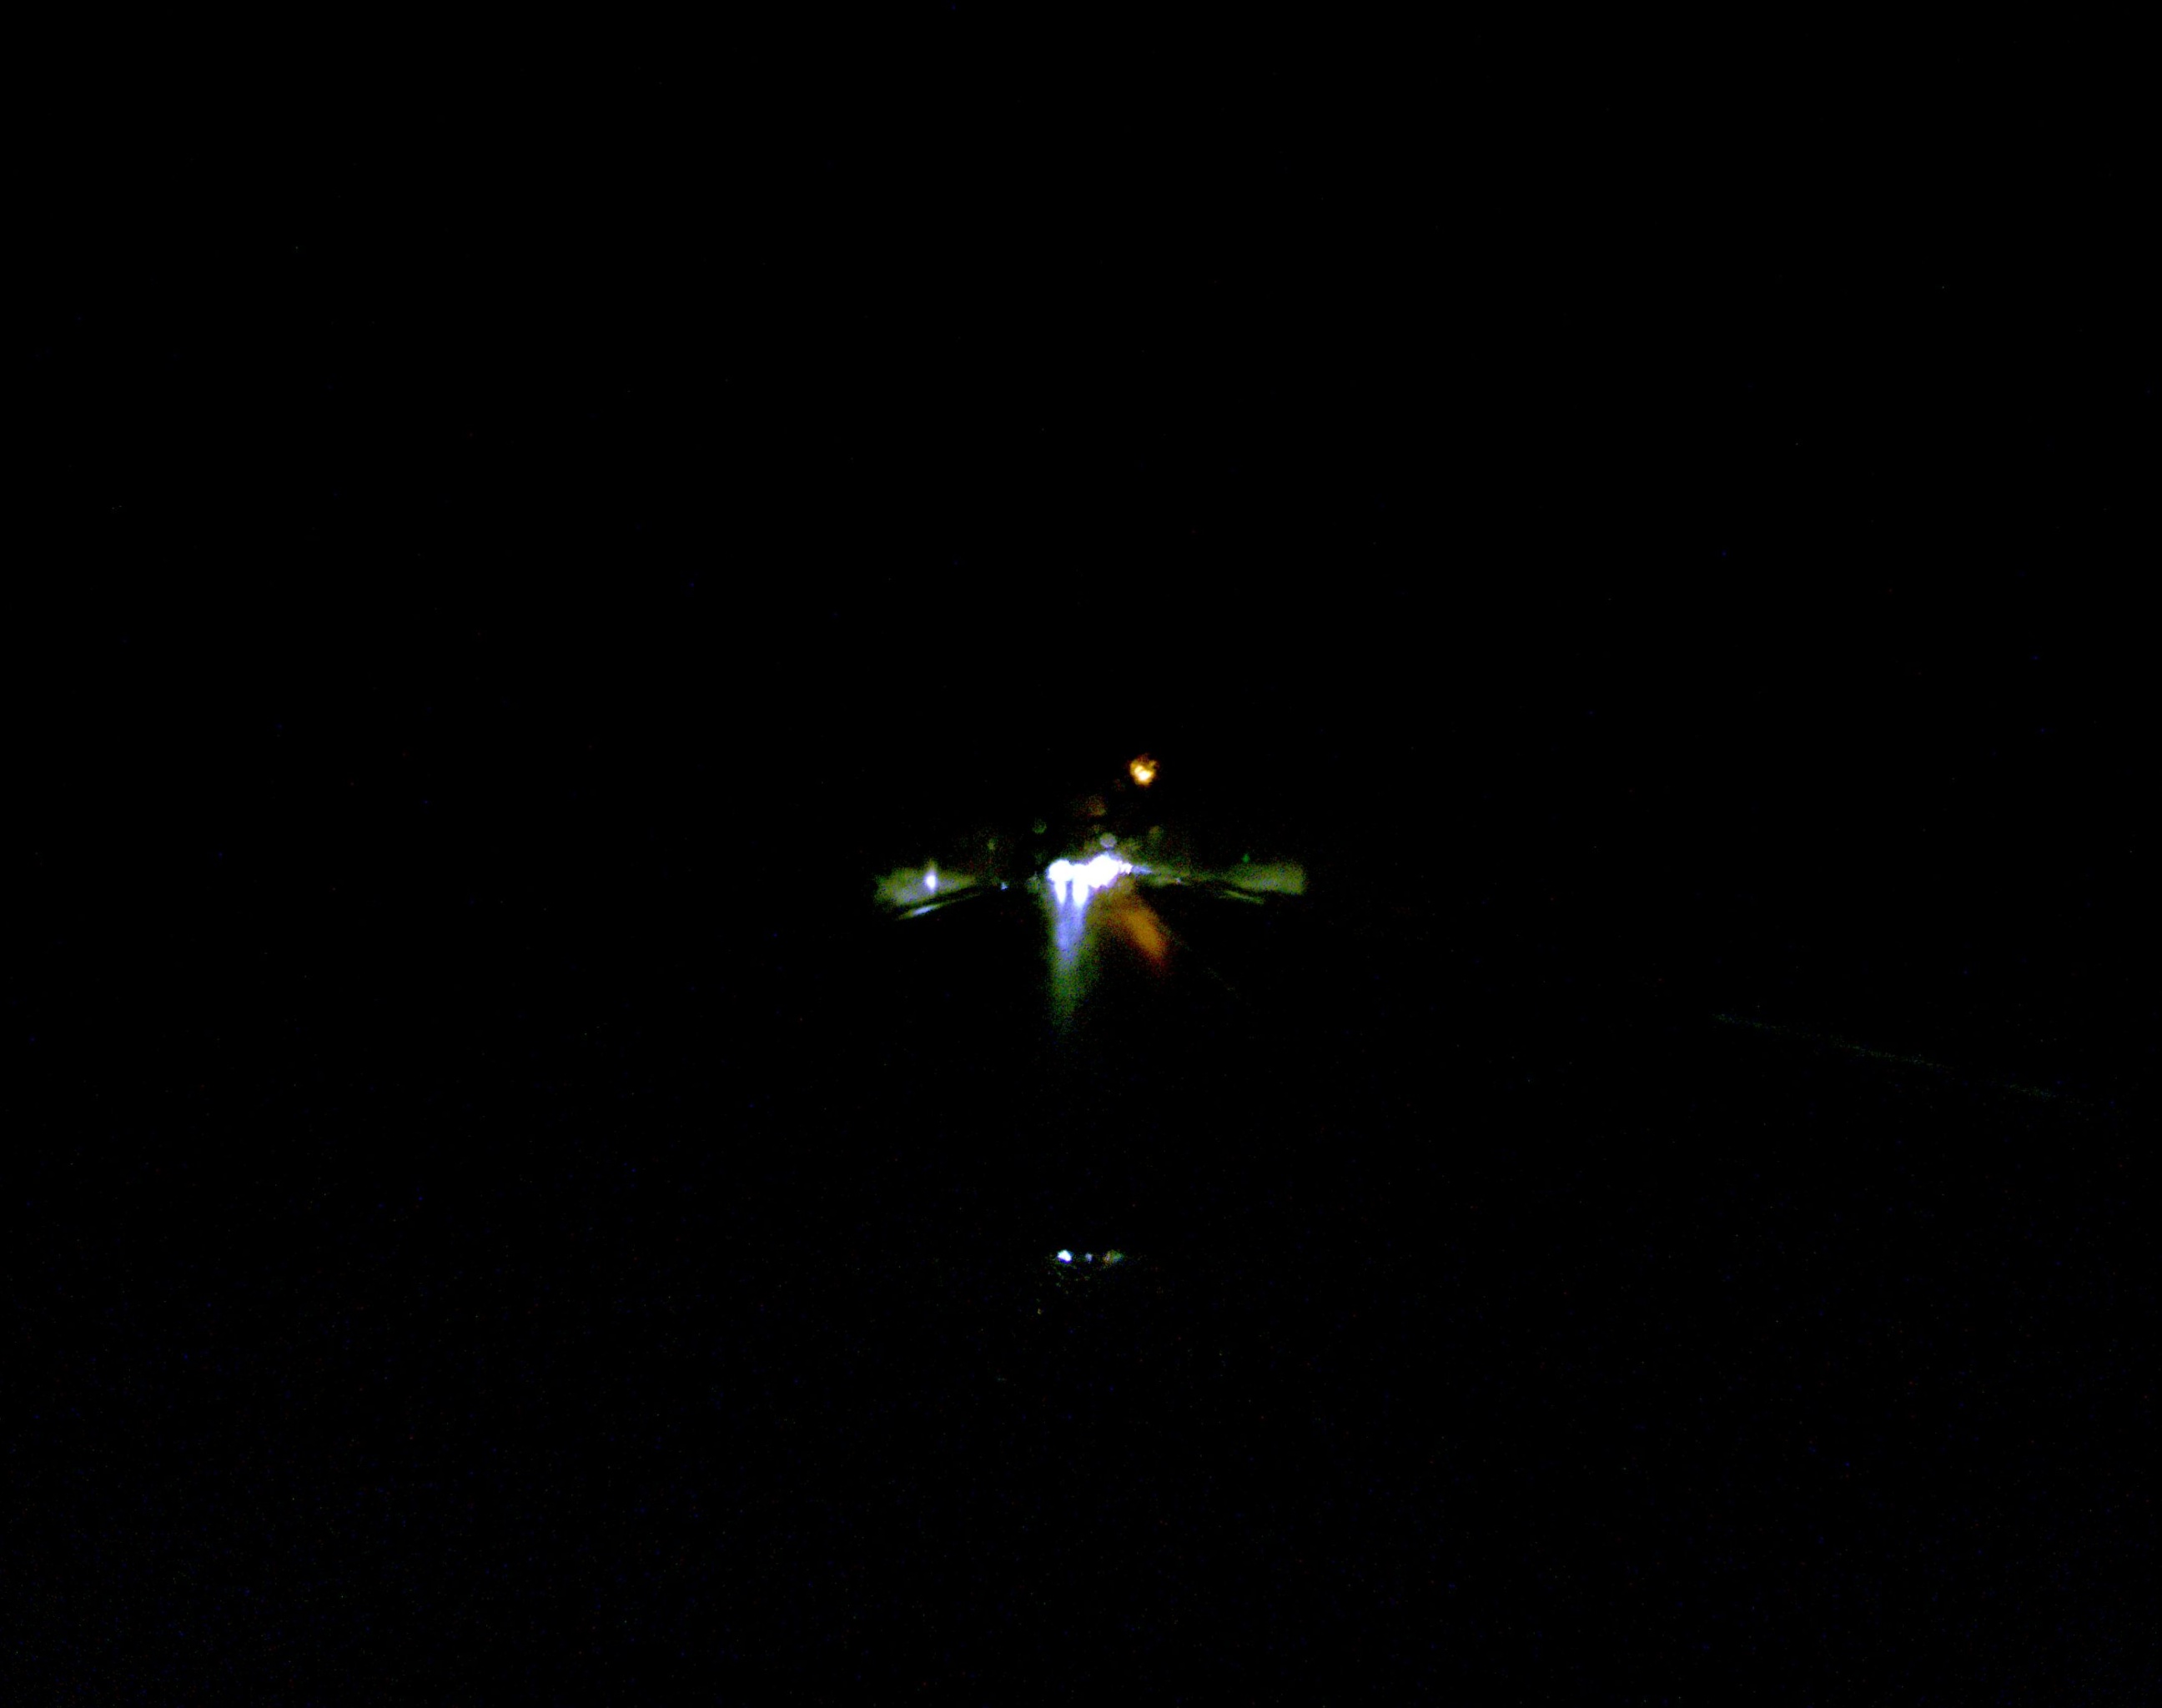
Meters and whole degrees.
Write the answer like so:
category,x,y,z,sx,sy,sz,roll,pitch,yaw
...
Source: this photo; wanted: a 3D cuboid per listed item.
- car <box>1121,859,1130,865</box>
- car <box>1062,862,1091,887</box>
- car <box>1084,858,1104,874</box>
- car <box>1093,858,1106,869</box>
category,x,y,z,sx,sy,sz,roll,pitch,yaw
car,11.793,2.092,201.685,1.998,1.576,4.000,-3,0,1
car,-0.298,1.517,56.617,1.998,1.576,4.000,5,1,0
car,1.435,1.312,82.962,1.998,1.576,4.000,-3,0,1
car,2.888,1.577,121.999,1.998,1.576,4.000,-3,0,1
